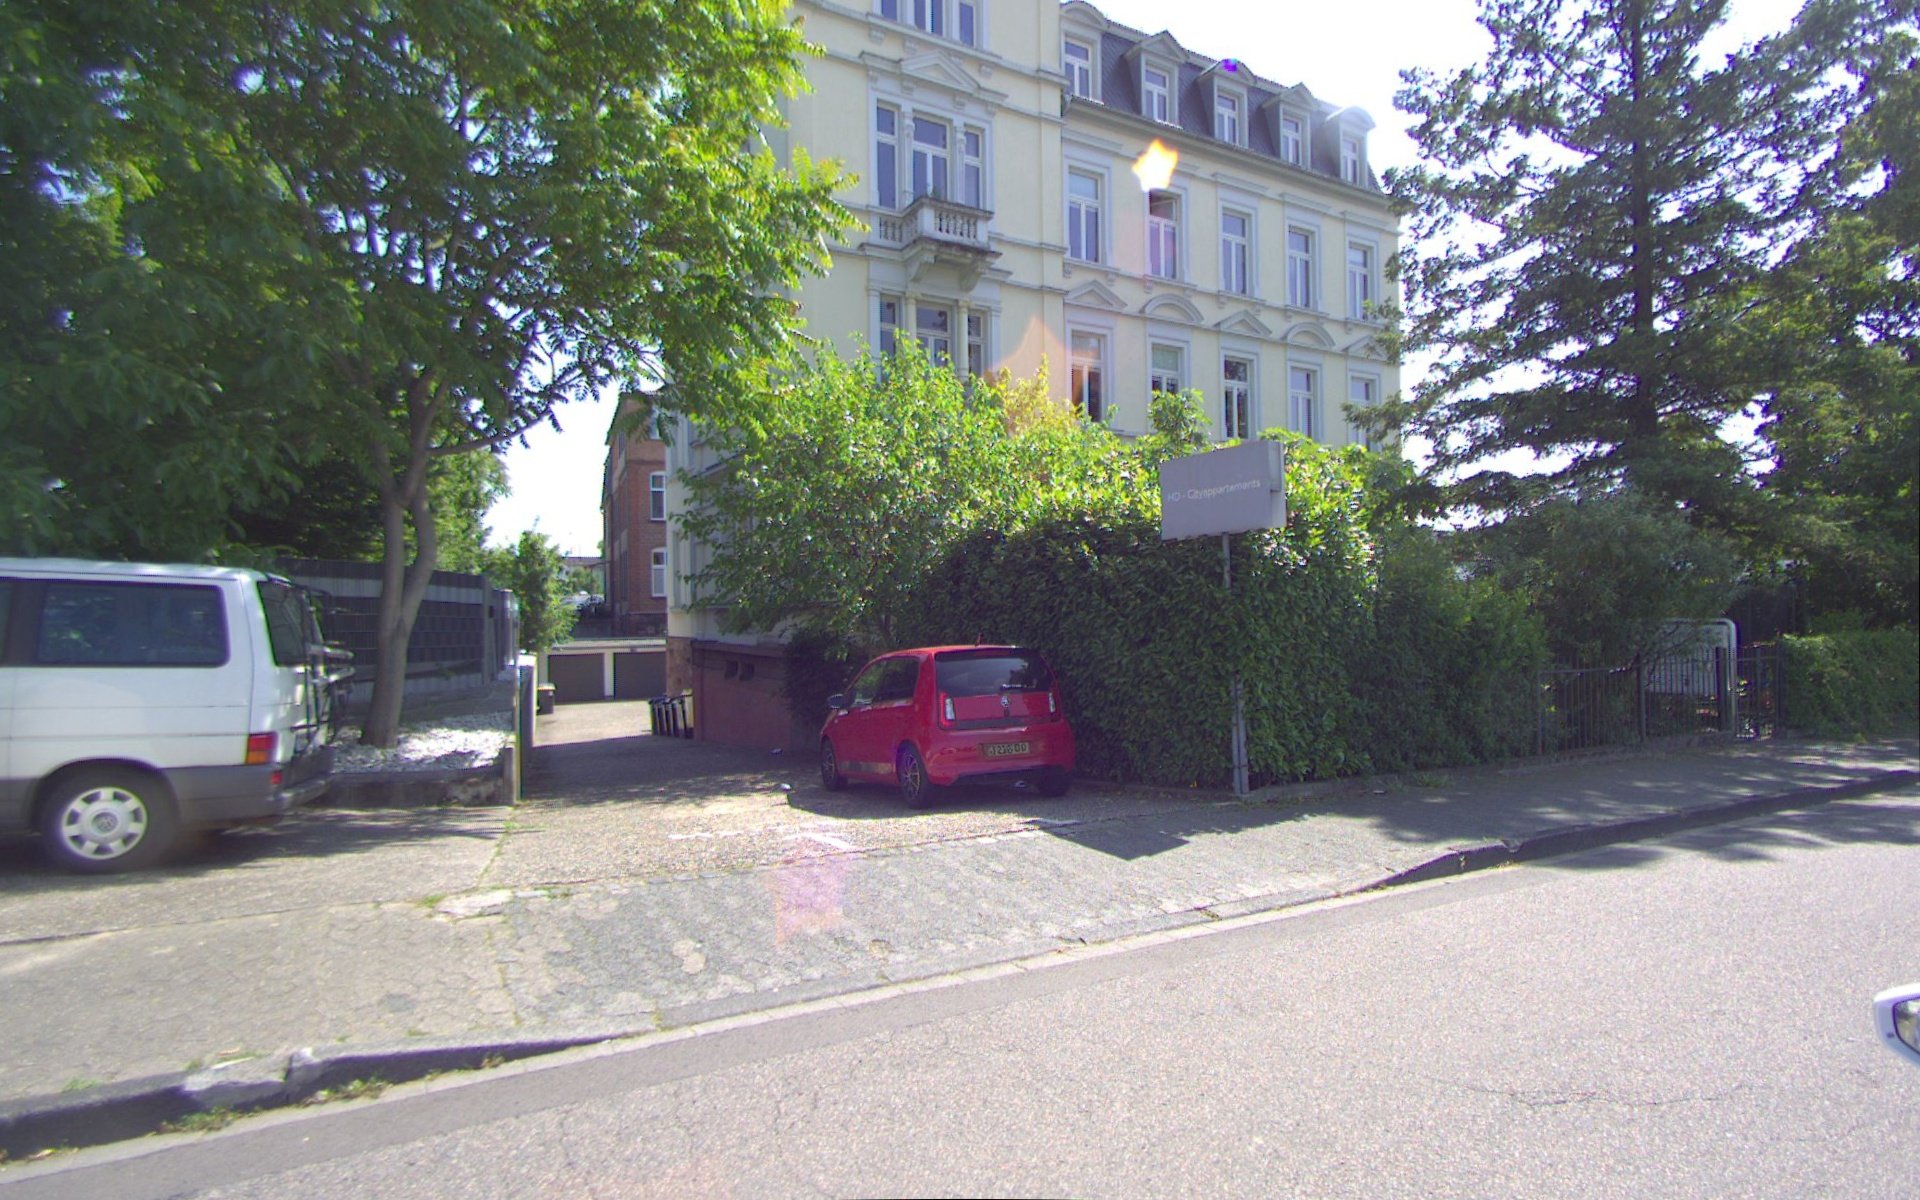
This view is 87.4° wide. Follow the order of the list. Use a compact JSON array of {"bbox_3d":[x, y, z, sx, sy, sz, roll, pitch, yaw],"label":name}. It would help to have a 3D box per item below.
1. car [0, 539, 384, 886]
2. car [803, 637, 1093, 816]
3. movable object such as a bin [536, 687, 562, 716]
[{"bbox_3d":[-6.666,0.655,6.252,5.028,1.956,1.990,2,-4,-23],"label":"car"},{"bbox_3d":[-0.296,1.238,10.342,1.629,1.484,3.402,1,-6,-27],"label":"car"},{"bbox_3d":[-16.660,4.094,40.721,0.868,1.133,0.692,1,-4,-30],"label":"movable object such as a bin"}]
